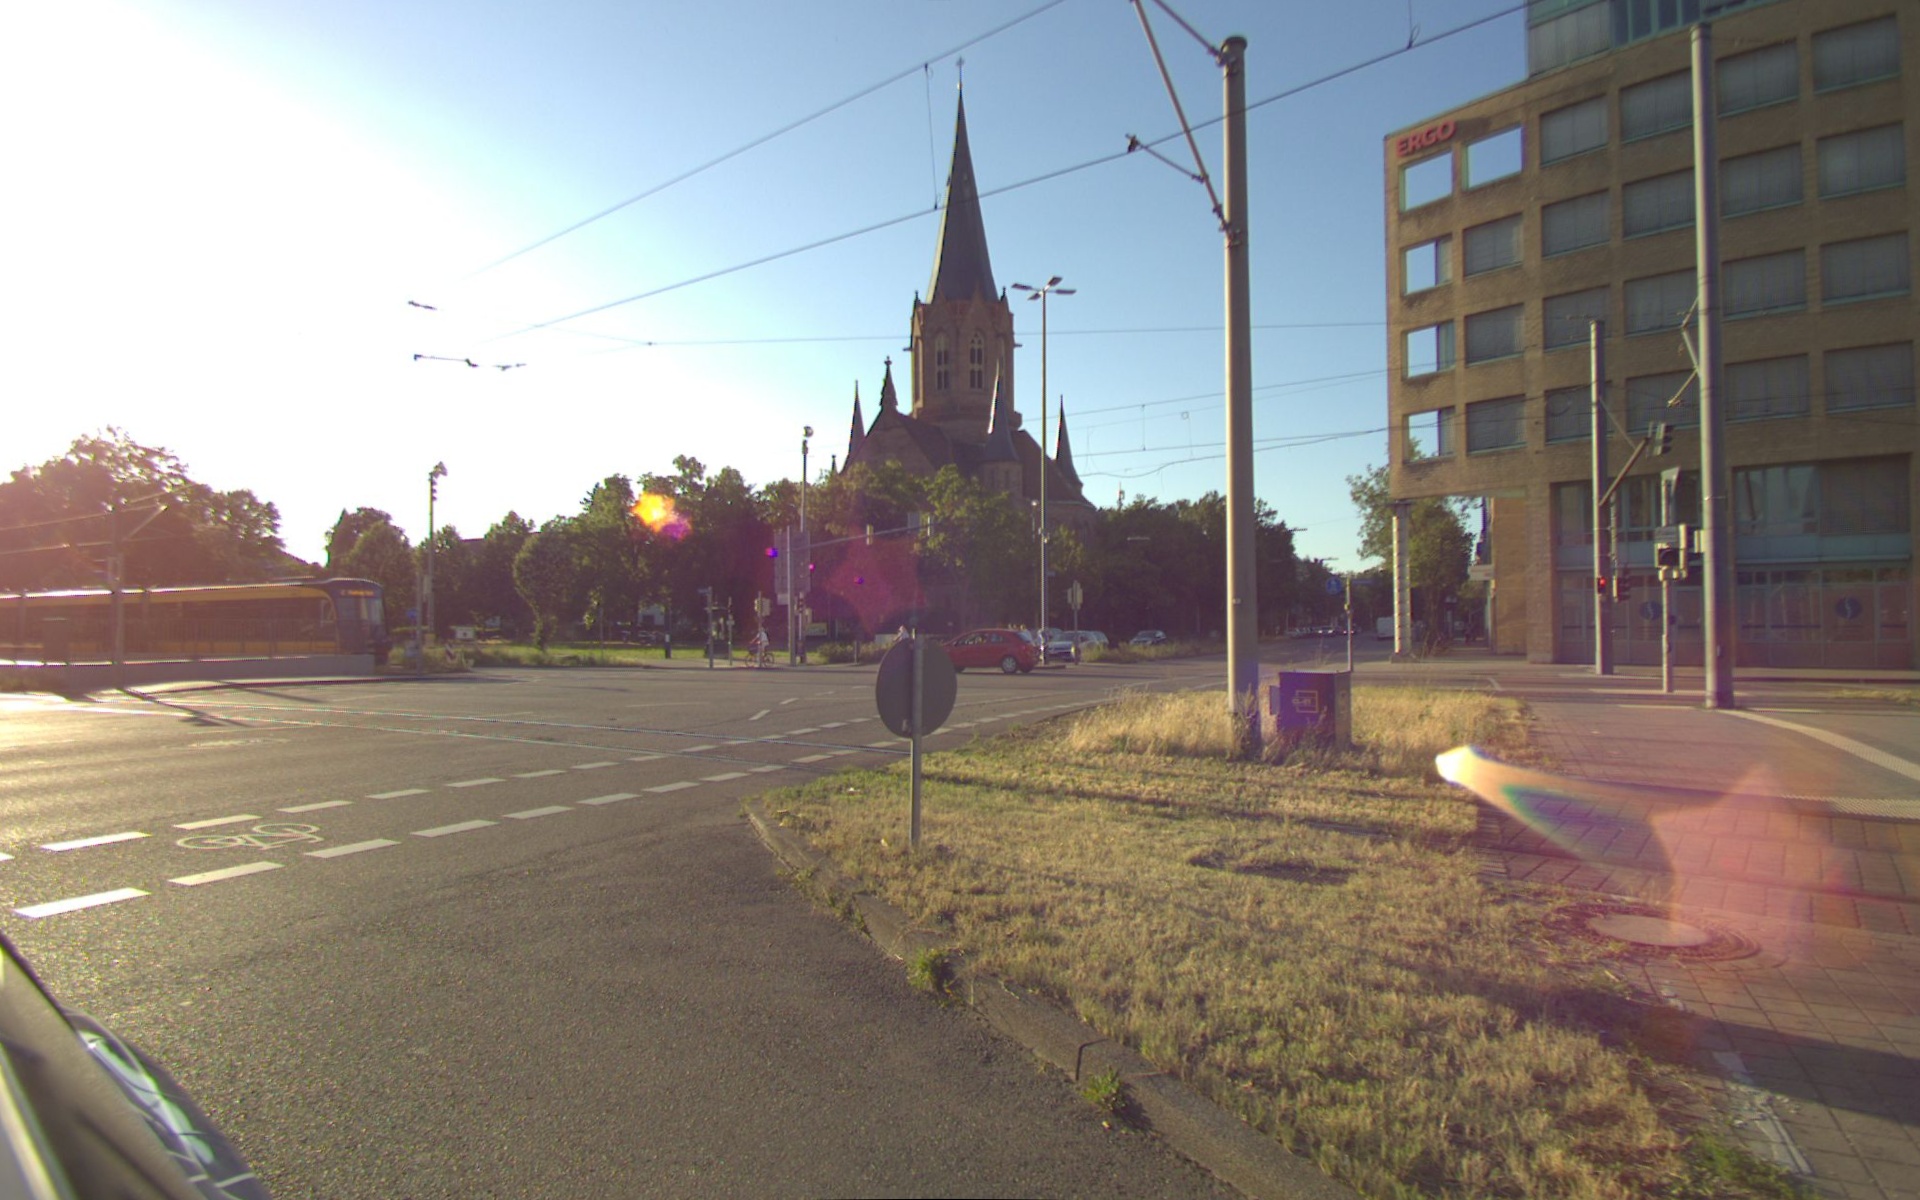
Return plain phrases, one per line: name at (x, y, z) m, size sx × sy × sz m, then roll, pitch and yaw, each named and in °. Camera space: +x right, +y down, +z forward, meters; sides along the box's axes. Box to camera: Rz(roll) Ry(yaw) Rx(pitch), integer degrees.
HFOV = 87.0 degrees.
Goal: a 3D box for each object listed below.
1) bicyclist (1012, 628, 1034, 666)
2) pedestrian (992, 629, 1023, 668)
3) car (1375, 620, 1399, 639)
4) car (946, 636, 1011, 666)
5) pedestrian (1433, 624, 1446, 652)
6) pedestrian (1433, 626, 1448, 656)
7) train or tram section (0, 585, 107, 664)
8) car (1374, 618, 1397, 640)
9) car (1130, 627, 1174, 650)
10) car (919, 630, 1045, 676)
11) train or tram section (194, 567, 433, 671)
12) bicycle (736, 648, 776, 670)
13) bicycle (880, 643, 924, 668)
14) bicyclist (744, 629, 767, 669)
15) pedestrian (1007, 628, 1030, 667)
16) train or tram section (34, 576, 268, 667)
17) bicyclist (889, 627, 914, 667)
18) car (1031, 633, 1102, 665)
bicyclist at (2.649, 1.976, 42.660) m, size 0.814 × 1.595 × 0.518 m, roll -1°, pitch -1°, yaw 17°
pedestrian at (2.059, 2.088, 43.744) m, size 1.101 × 1.685 × 0.730 m, roll -2°, pitch -2°, yaw 30°
car at (48.559, 3.355, 115.073) m, size 2.221 × 2.029 × 4.560 m, roll -2°, pitch -2°, yaw 26°
car at (0.997, 2.656, 53.118) m, size 1.893 × 1.431 × 3.963 m, roll -1°, pitch -2°, yaw 27°
pedestrian at (27.553, 2.177, 58.160) m, size 0.579 × 1.567 × 0.737 m, roll -2°, pitch -2°, yaw 34°
pedestrian at (25.725, 2.192, 54.192) m, size 0.579 × 1.567 × 0.737 m, roll -2°, pitch -2°, yaw 34°
train or tram section at (-47.002, 1.270, 49.842) m, size 13.184 × 3.563 × 2.757 m, roll -1°, pitch -1°, yaw 27°
car at (48.272, 3.285, 114.708) m, size 1.991 × 2.361 × 3.962 m, roll -2°, pitch -2°, yaw 28°
car at (12.859, 2.567, 67.648) m, size 1.893 × 1.431 × 3.963 m, roll -1°, pitch -2°, yaw 27°
car at (0.738, 1.753, 33.744) m, size 3.860 × 1.425 × 1.717 m, roll -1°, pitch -2°, yaw 23°
train or tram section at (-24.686, 0.774, 38.449) m, size 10.517 × 3.563 × 2.757 m, roll -1°, pitch -1°, yaw 27°
bicycle at (-9.710, 2.796, 48.180) m, size 1.920 × 1.034 × 0.520 m, roll -2°, pitch -1°, yaw 27°
bicycle at (-2.512, 2.394, 43.615) m, size 1.921 × 1.034 × 0.455 m, roll -2°, pitch -1°, yaw 28°
bicyclist at (-9.716, 2.319, 48.157) m, size 0.890 × 1.841 × 0.570 m, roll -2°, pitch -1°, yaw 27°
pedestrian at (2.573, 2.081, 44.400) m, size 0.715 × 1.685 × 0.730 m, roll -2°, pitch -2°, yaw 30°
train or tram section at (-35.255, 0.992, 43.872) m, size 13.184 × 3.563 × 2.757 m, roll -1°, pitch -1°, yaw 27°
bicyclist at (-2.506, 2.018, 43.597) m, size 0.890 × 1.693 × 0.570 m, roll -2°, pitch -1°, yaw 28°
car at (5.060, 2.294, 47.824) m, size 1.895 × 1.431 × 3.958 m, roll -1°, pitch -2°, yaw 30°
